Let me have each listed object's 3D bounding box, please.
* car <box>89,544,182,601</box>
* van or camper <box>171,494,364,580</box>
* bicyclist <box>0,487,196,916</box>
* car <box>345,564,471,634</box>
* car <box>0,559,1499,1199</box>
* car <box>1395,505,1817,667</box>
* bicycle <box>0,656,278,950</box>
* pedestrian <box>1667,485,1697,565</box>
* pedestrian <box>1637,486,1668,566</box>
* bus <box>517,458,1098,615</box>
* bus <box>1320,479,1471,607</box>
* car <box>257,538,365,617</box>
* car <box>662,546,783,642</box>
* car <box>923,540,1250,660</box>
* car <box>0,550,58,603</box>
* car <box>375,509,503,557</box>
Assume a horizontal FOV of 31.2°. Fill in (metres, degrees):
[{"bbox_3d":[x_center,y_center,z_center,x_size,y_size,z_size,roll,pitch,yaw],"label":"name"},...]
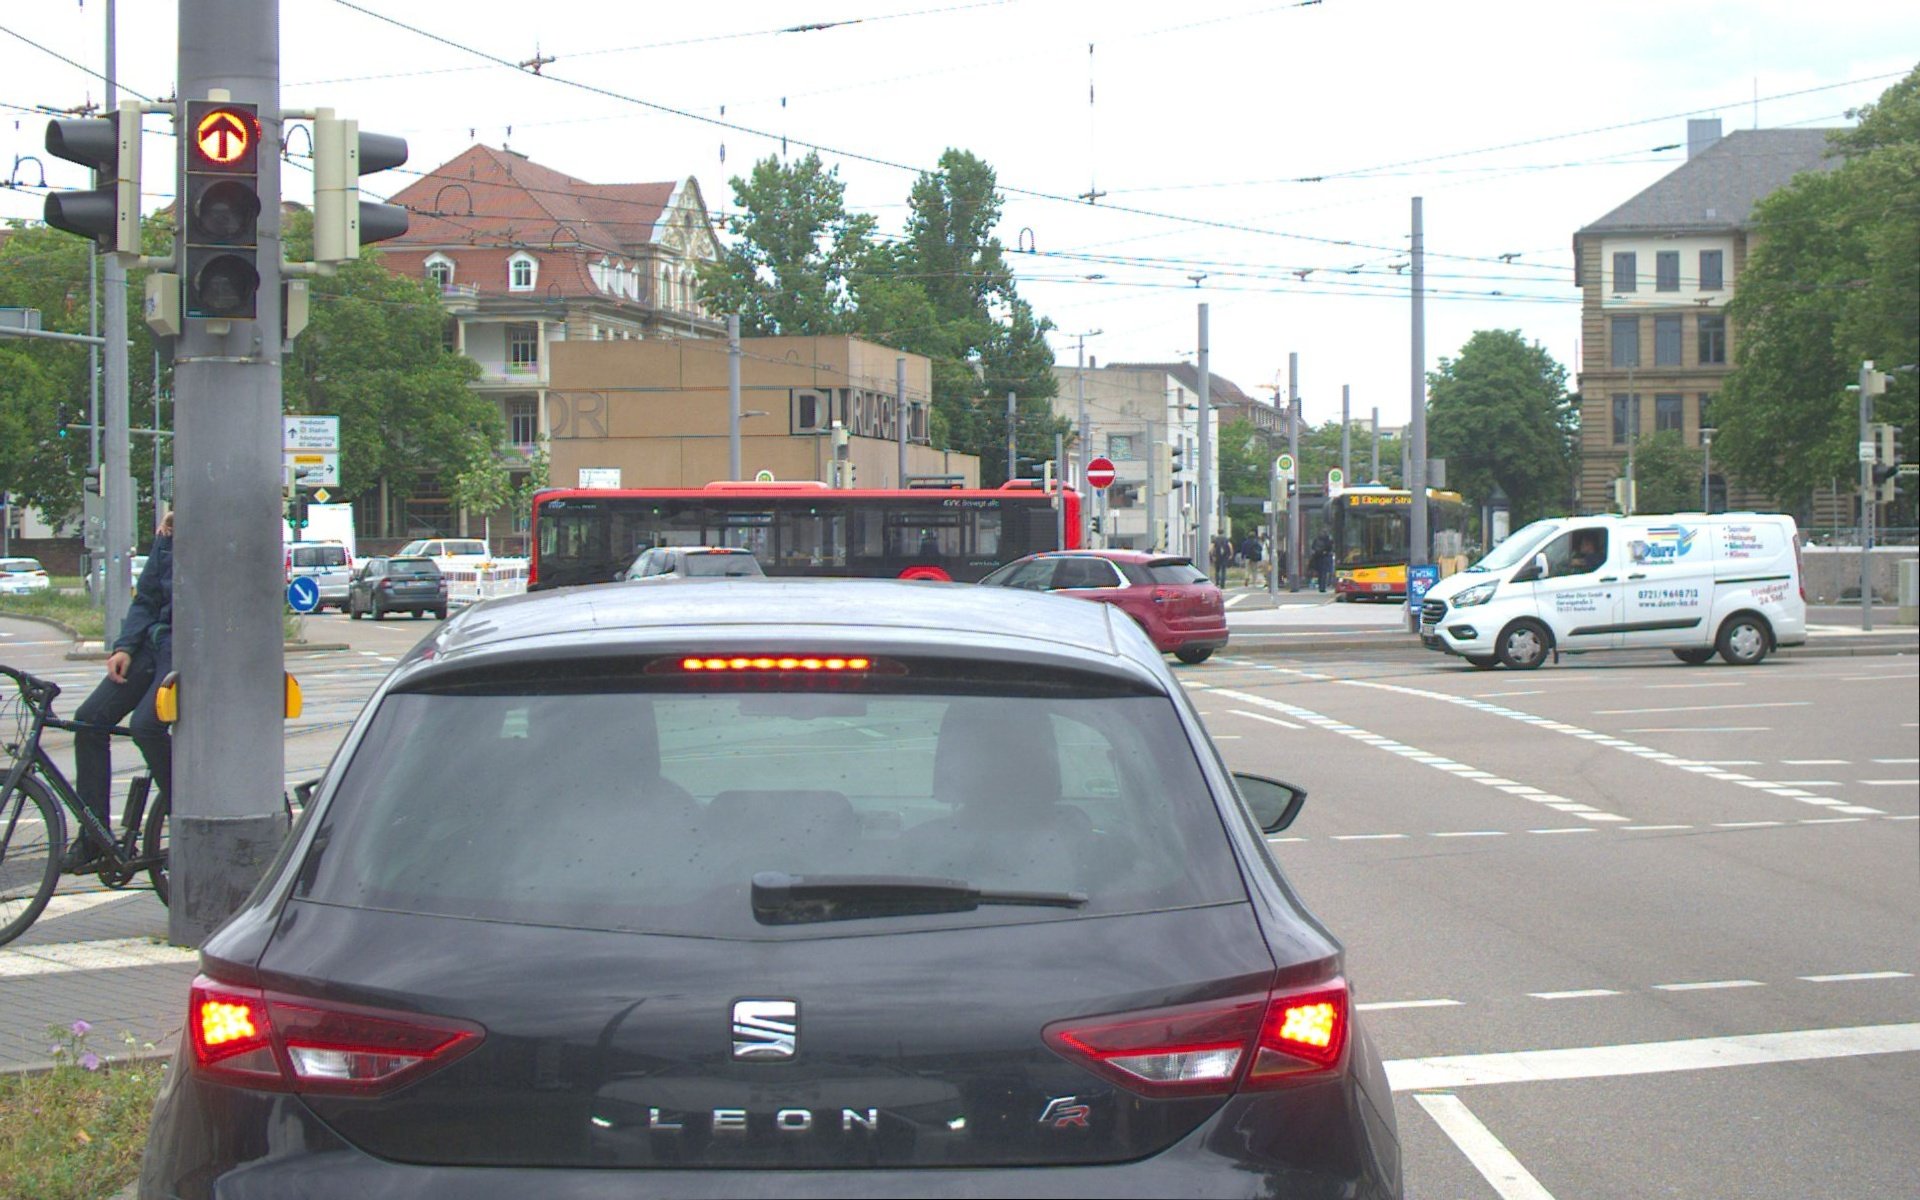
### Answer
[{"bbox_3d":[-25.874,-0.877,107.785,1.993,1.744,4.001,-1,1,-26],"label":"car"},{"bbox_3d":[-27.816,-2.554,138.309,7.134,3.321,2.875,-2,0,-45],"label":"van or camper"},{"bbox_3d":[-3.432,0.380,13.496,0.653,1.633,0.517,-1,1,-40],"label":"bicyclist"},{"bbox_3d":[-12.742,-0.035,79.185,1.993,1.534,4.001,-1,1,-22],"label":"car"},{"bbox_3d":[-0.278,0.675,5.978,1.746,1.459,4.000,0,1,-1],"label":"car"},{"bbox_3d":[8.387,-0.210,44.833,5.014,2.012,2.001,-1,1,-9],"label":"car"},{"bbox_3d":[-3.521,0.781,13.423,1.609,1.066,0.528,-1,1,-40],"label":"bicycle"},{"bbox_3d":[38.351,-3.979,182.644,1.307,4.239,1.347,0,1,0],"label":"pedestrian"},{"bbox_3d":[36.798,-3.918,182.707,1.387,4.239,1.347,0,1,0],"label":"pedestrian"},{"bbox_3d":[-3.240,-1.365,74.856,12.340,3.286,3.068,0,1,5],"label":"bus"},{"bbox_3d":[12.078,-1.575,94.309,3.018,3.256,13.036,0,1,12],"label":"bus"},{"bbox_3d":[-17.056,-0.610,90.274,1.993,2.007,4.001,-1,1,-22],"label":"car"},{"bbox_3d":[-4.113,-0.139,59.029,1.993,1.560,4.206,-1,1,-5],"label":"car"},{"bbox_3d":[1.746,-0.021,47.928,4.199,1.595,1.860,0,1,33],"label":"car"},{"bbox_3d":[-29.670,-0.754,107.582,1.993,1.634,4.001,-1,1,-26],"label":"car"},{"bbox_3d":[-21.811,-2.808,144.014,4.991,1.858,1.999,-2,-2,-44],"label":"car"}]
